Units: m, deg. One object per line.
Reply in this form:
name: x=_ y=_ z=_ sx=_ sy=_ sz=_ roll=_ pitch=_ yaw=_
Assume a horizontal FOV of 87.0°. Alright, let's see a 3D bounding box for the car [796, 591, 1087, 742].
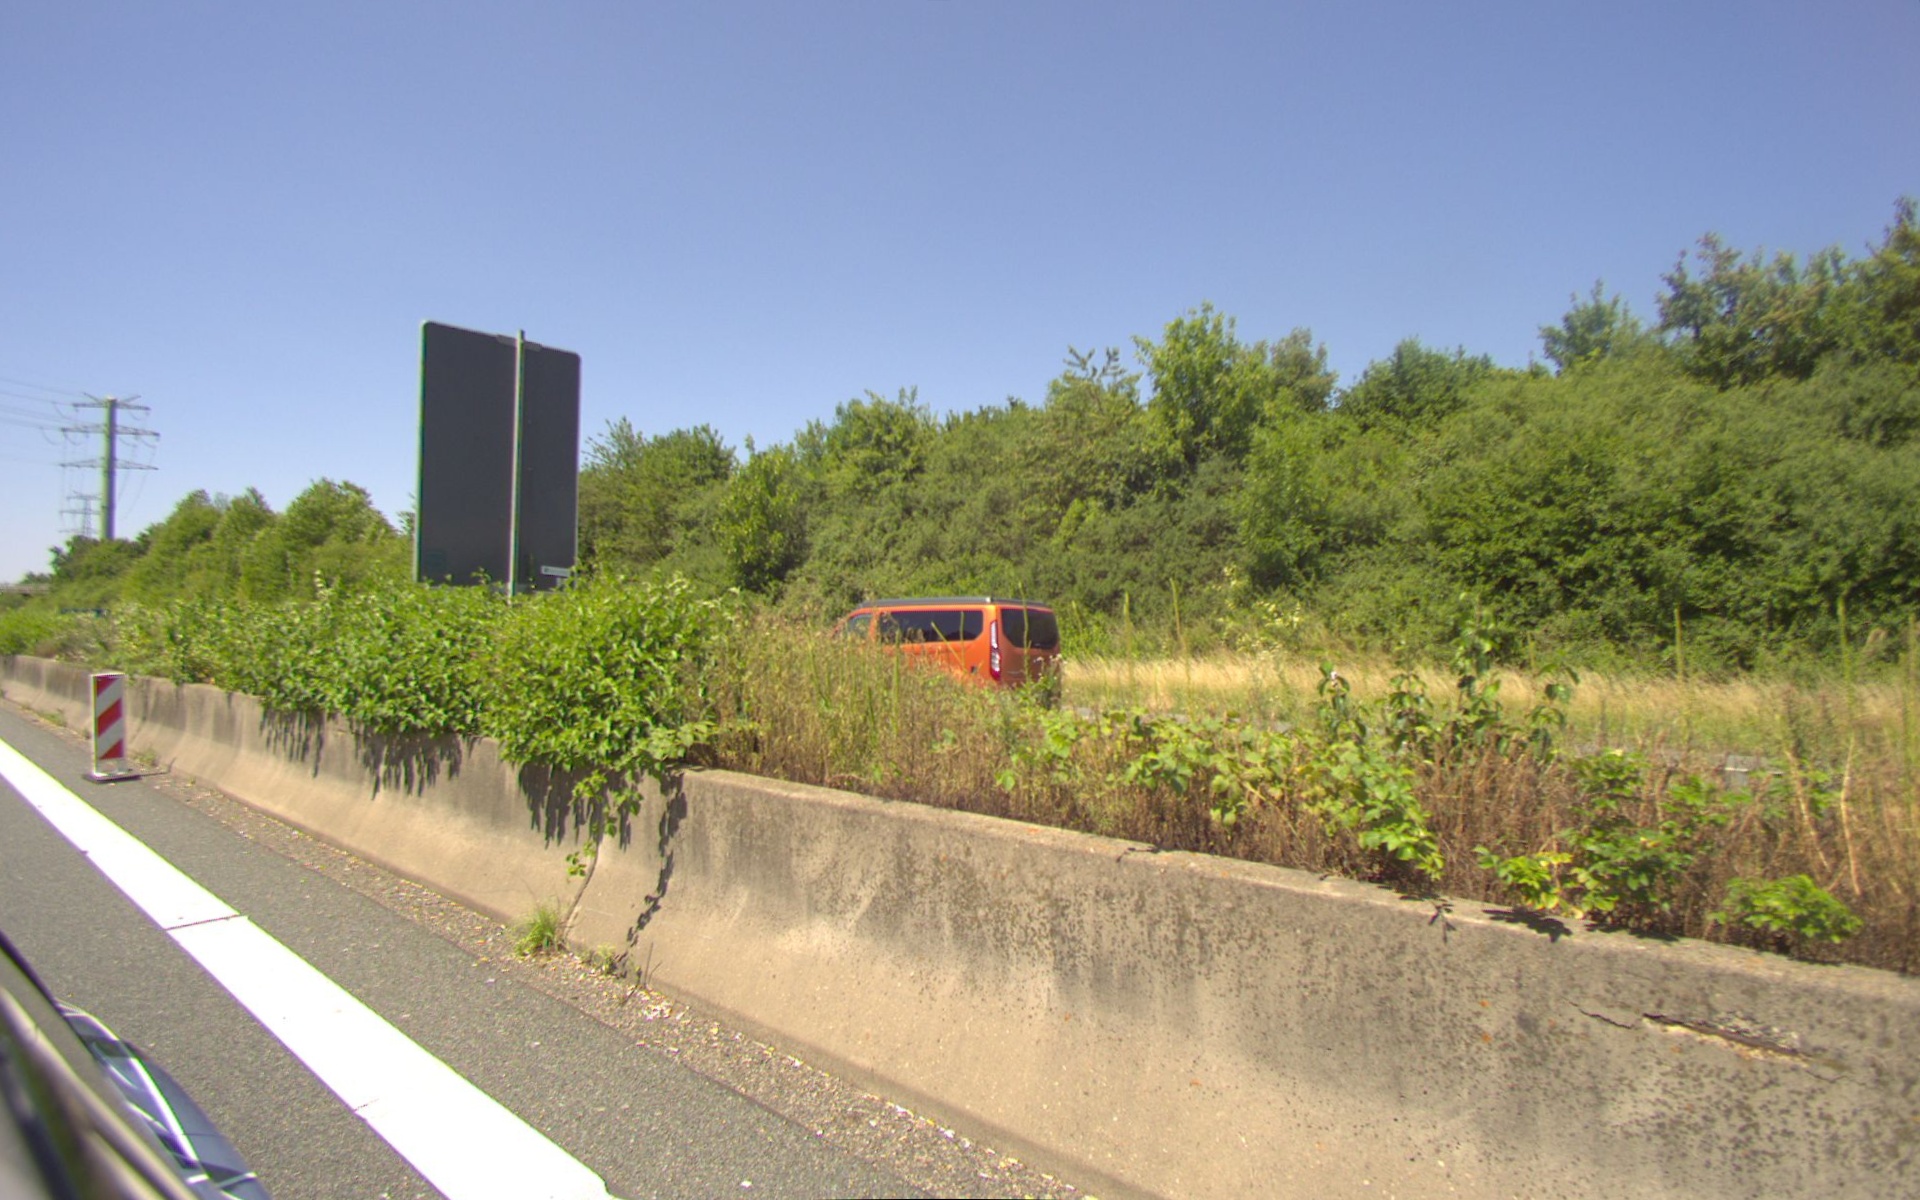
car: x=-0.411 y=1.005 z=16.436 sx=4.604 sy=2.112 sz=1.973 roll=-1 pitch=-3 yaw=41
